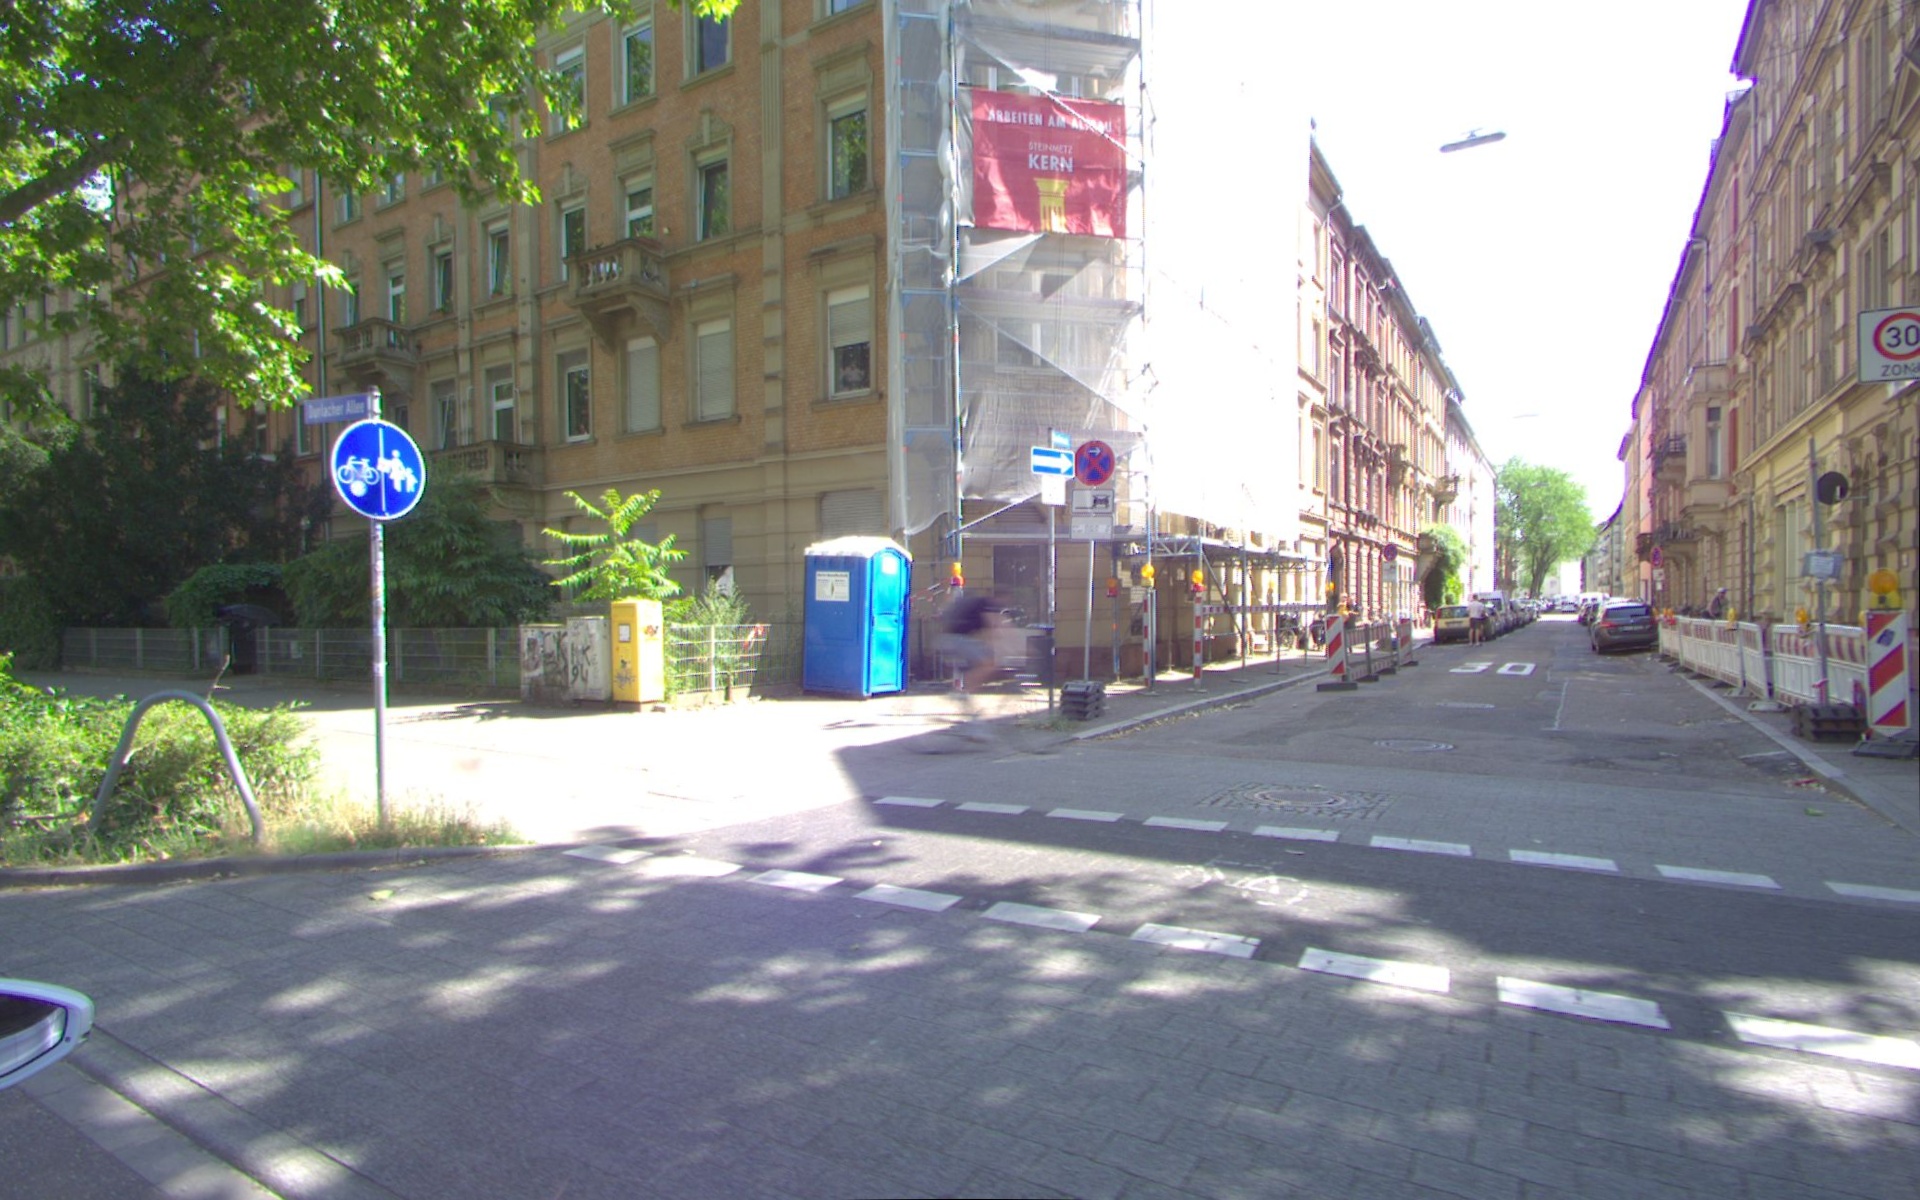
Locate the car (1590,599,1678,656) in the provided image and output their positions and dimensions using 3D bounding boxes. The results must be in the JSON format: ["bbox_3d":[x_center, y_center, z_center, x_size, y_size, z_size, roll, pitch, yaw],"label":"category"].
[{"bbox_3d":[19.914,0.778,29.729,1.971,1.572,3.980,-1,0,31],"label":"car"}]

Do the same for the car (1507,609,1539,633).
[{"bbox_3d":[42.559,1.545,75.632,1.886,1.732,4.139,0,0,33],"label":"car"}]

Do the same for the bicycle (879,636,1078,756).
[{"bbox_3d":[0.182,0.917,9.883,1.891,1.063,0.532,-1,1,-15],"label":"bicycle"}]

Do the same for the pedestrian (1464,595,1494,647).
[{"bbox_3d":[18.465,0.736,35.639,0.922,1.822,1.034,0,0,29],"label":"pedestrian"}]

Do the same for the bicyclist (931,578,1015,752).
[{"bbox_3d":[0.119,0.620,9.919,0.682,1.645,0.624,-1,1,-14],"label":"bicyclist"}]

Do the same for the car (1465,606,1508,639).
[{"bbox_3d":[25.977,1.066,49.340,1.702,1.549,3.478,0,0,31],"label":"car"}]

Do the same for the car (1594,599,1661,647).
[{"bbox_3d":[25.915,0.856,38.986,1.971,1.762,3.980,0,0,31],"label":"car"}]

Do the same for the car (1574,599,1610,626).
[{"bbox_3d":[43.239,0.853,68.572,1.971,1.762,3.980,0,0,31],"label":"car"}]

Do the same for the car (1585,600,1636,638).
[{"bbox_3d":[31.972,0.899,49.324,1.971,1.762,3.980,0,0,31],"label":"car"}]

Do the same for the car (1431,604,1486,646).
[{"bbox_3d":[19.679,0.951,39.487,1.702,1.549,3.478,0,0,31],"label":"car"}]

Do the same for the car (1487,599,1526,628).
[{"bbox_3d":[34.481,0.827,63.119,1.886,1.732,4.139,0,0,33],"label":"car"}]

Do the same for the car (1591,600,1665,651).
[{"bbox_3d":[23.245,0.858,34.950,1.971,1.661,3.980,0,0,31],"label":"car"}]

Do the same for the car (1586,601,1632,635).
[{"bbox_3d":[34.874,0.959,53.892,1.971,1.762,3.980,0,0,31],"label":"car"}]

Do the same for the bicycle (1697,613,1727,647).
[{"bbox_3d":[22.954,0.899,30.566,0.530,0.991,1.304,0,0,28],"label":"bicycle"}]

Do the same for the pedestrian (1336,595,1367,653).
[{"bbox_3d":[11.986,0.742,30.674,0.843,1.748,0.834,-1,0,19],"label":"pedestrian"}]

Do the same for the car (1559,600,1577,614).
[{"bbox_3d":[78.312,0.897,129.045,1.971,1.762,3.980,0,0,31],"label":"car"}]

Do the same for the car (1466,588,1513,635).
[{"bbox_3d":[28.458,0.611,53.719,1.886,2.405,4.224,0,0,33],"label":"car"}]

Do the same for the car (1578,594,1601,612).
[{"bbox_3d":[63.728,0.298,101.417,1.971,1.762,3.980,0,0,31],"label":"car"}]

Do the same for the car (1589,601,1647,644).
[{"bbox_3d":[28.695,0.947,43.777,1.971,1.762,3.980,0,0,31],"label":"car"}]

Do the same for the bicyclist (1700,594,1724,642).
[{"bbox_3d":[22.979,0.544,30.611,0.525,1.472,0.459,0,1,29],"label":"bicyclist"}]

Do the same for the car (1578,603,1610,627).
[{"bbox_3d":[47.681,1.104,75.396,1.971,1.762,3.980,0,0,31],"label":"car"}]
